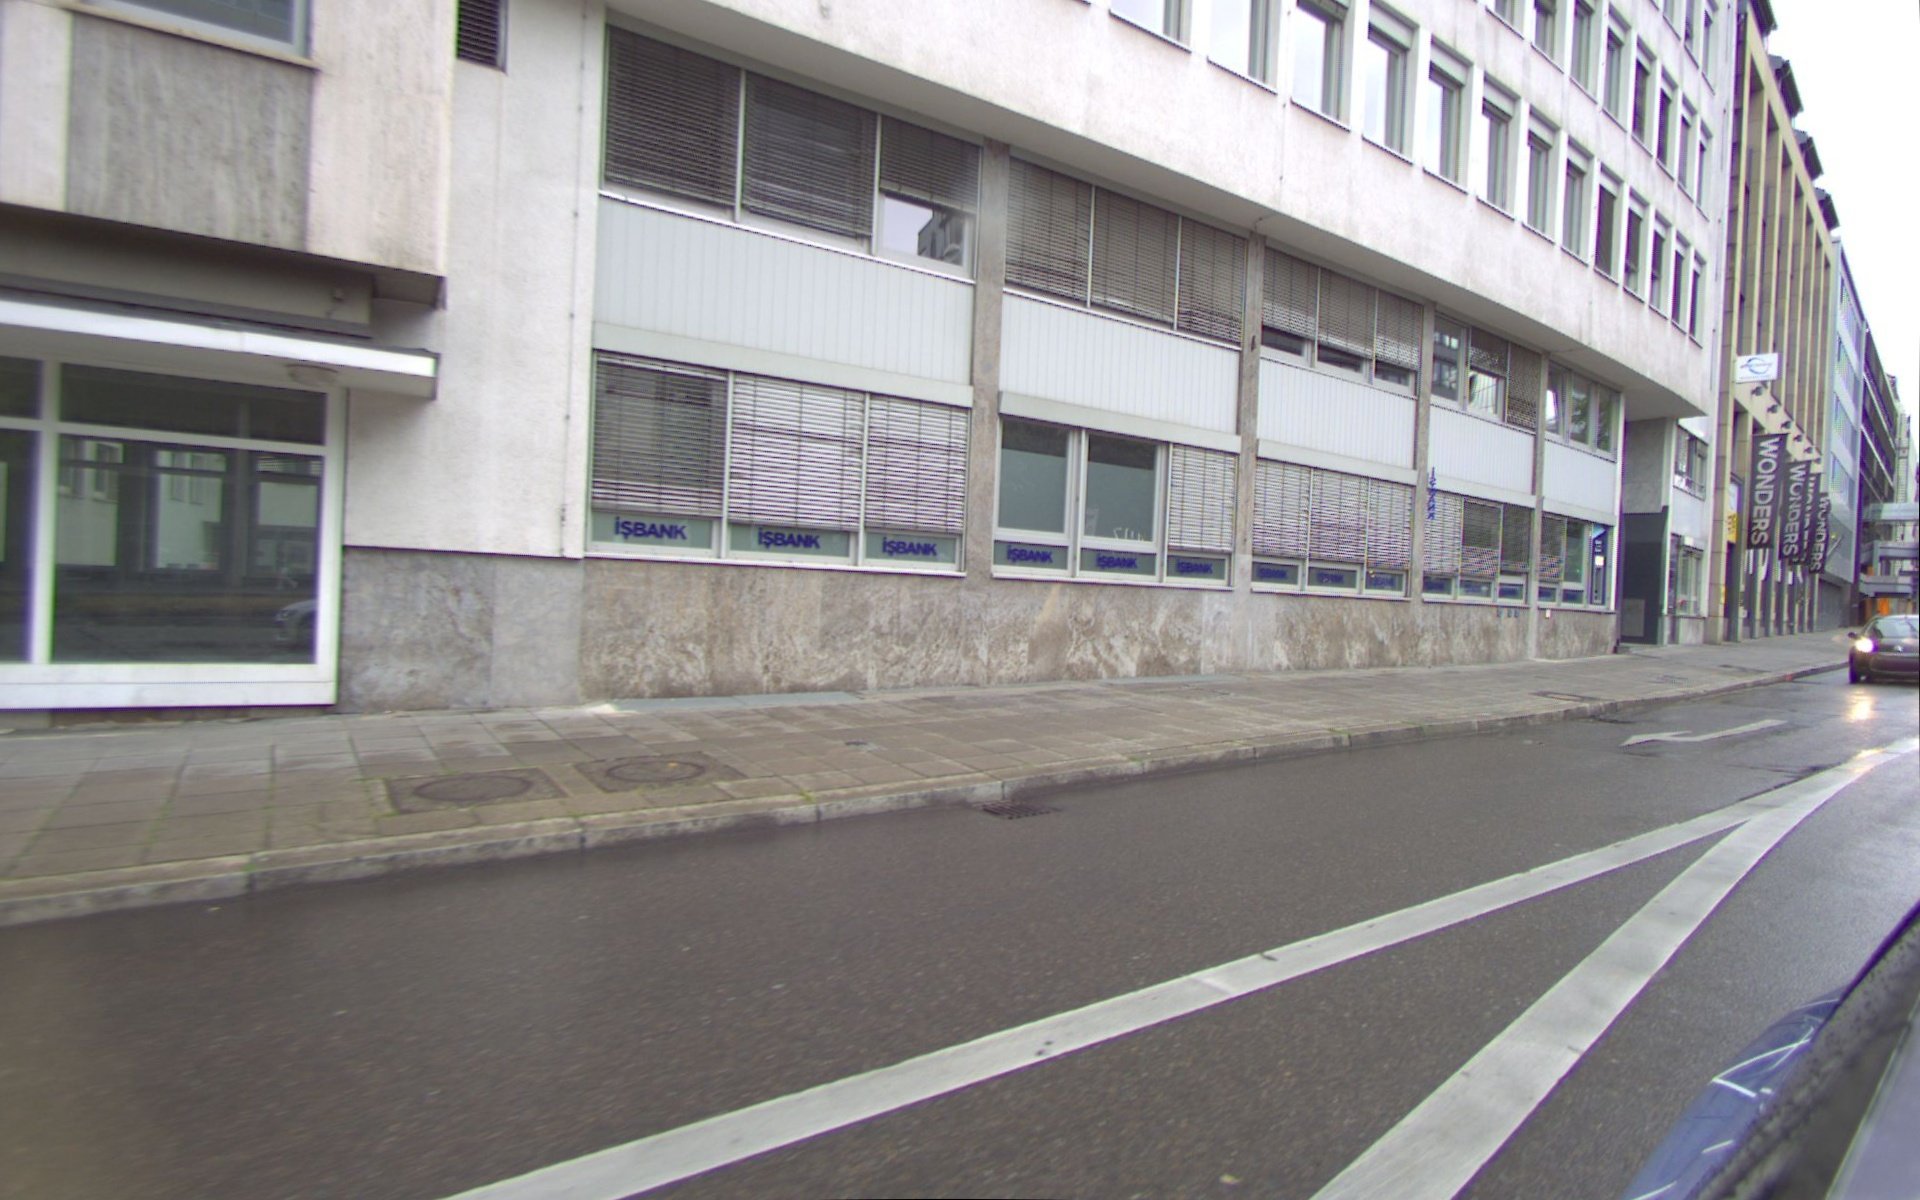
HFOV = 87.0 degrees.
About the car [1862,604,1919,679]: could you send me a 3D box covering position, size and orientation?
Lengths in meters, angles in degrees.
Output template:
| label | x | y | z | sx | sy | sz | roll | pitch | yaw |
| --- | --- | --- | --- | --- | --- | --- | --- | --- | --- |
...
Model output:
| label | x | y | z | sx | sy | sz | roll | pitch | yaw |
| --- | --- | --- | --- | --- | --- | --- | --- | --- | --- |
| car | 20.498 | 0.850 | 21.567 | 3.426 | 1.491 | 1.664 | 1 | 0 | -44 |
